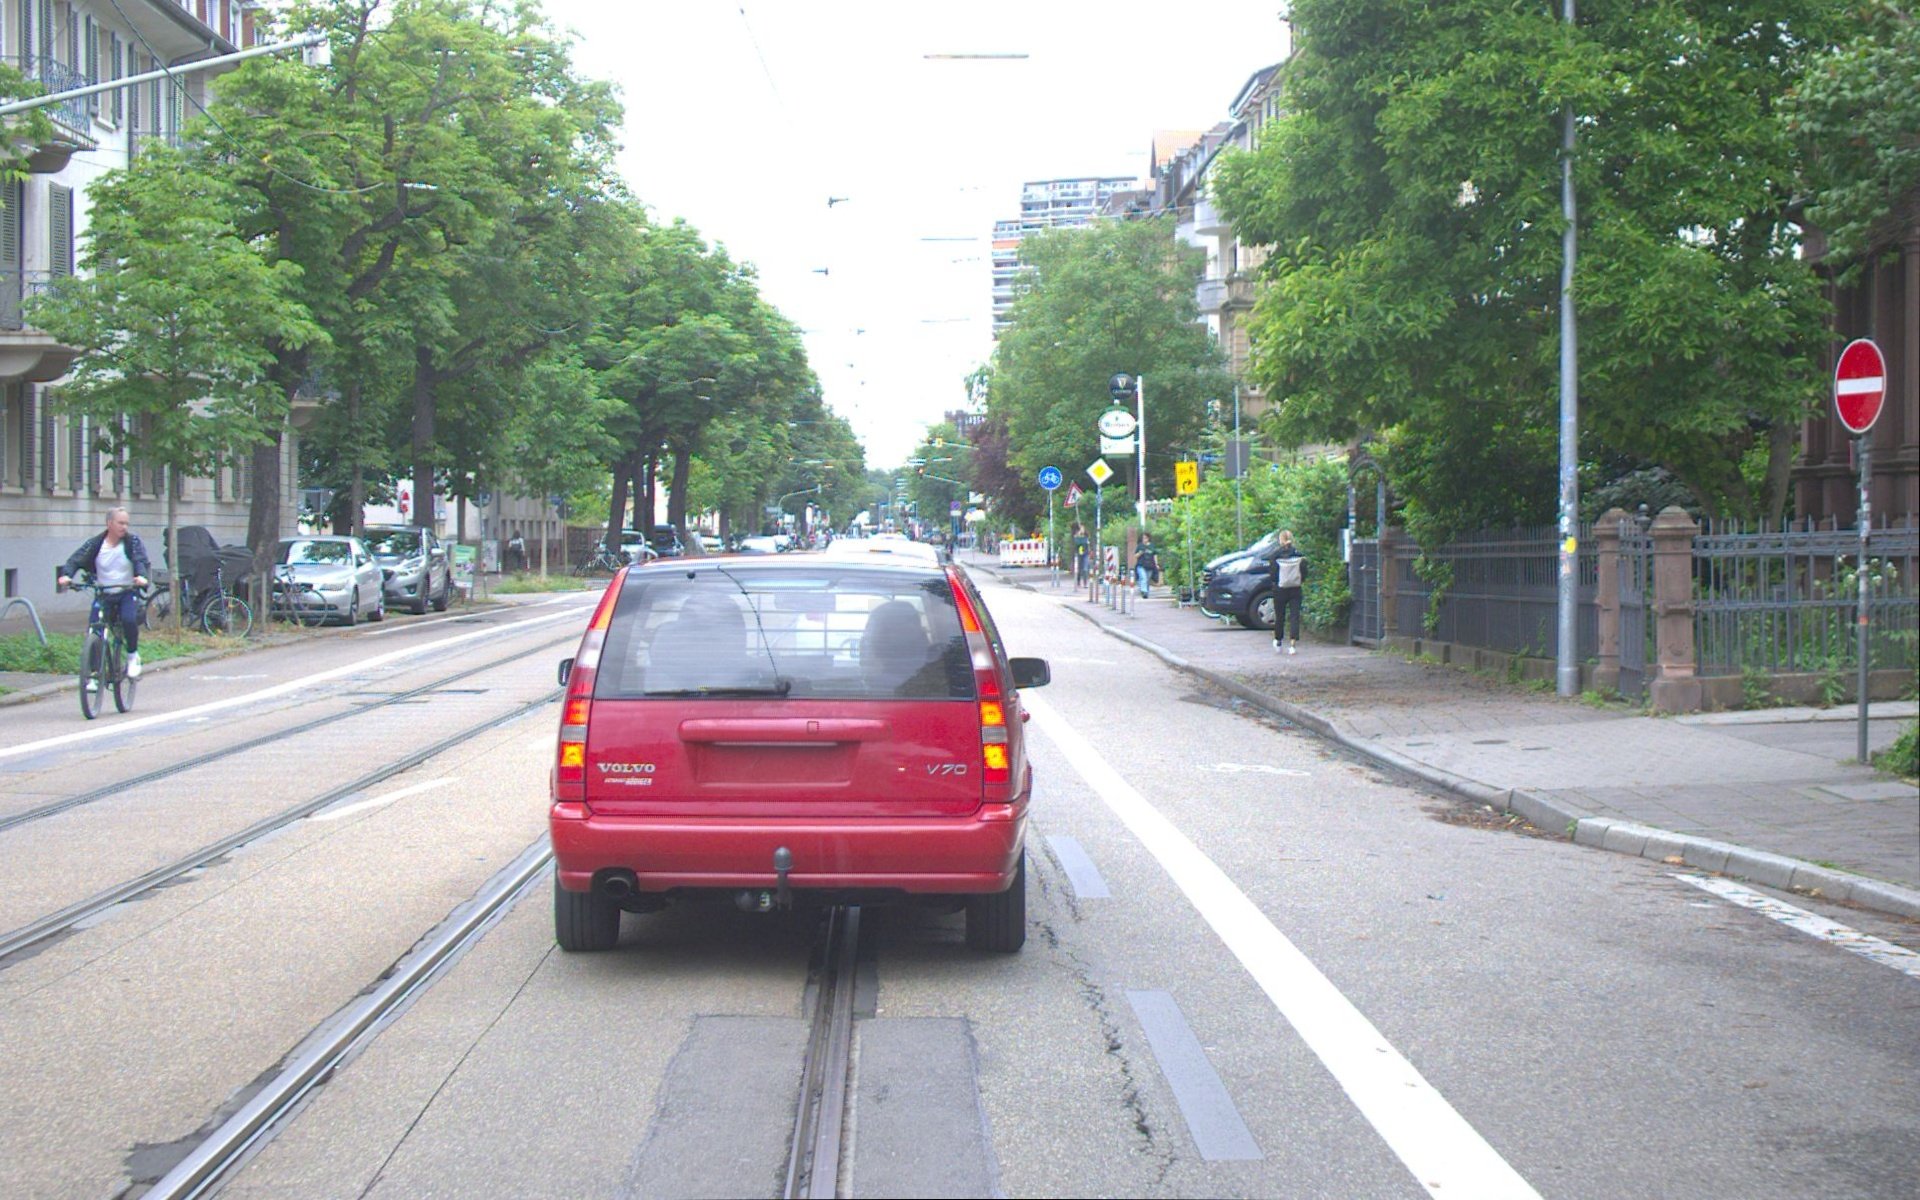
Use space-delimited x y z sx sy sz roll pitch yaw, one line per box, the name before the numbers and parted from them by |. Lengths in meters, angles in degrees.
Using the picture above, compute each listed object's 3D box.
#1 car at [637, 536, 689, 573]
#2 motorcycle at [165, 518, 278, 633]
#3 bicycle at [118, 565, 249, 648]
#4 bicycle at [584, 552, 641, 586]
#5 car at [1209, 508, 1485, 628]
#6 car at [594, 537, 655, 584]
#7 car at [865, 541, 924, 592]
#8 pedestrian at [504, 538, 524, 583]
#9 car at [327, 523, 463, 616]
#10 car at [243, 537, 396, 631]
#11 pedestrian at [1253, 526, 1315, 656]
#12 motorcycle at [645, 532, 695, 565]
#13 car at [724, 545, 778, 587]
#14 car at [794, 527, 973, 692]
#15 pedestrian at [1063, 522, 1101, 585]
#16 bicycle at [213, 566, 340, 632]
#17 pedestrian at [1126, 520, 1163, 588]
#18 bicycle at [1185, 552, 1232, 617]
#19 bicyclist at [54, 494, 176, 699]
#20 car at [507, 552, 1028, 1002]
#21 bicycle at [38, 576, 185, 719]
car | -12.330 -1.910 142.943 1.777 1.505 4.238 1 1 0
motorcycle | -10.729 -0.369 50.026 0.833 1.637 2.479 0 1 7
bicycle | -10.786 0.089 47.737 1.743 1.125 0.517 0 1 17
bicycle | -12.116 -1.093 119.986 1.922 1.117 0.624 2 1 -1
car | 6.296 -0.531 56.298 4.280 1.803 1.824 -2 1 1
car | -12.066 -1.442 123.822 1.897 1.650 4.226 0 1 -2
car | -2.128 -1.086 110.570 1.741 1.600 4.001 0 1 -3
pedestrian | -14.756 -1.308 113.691 0.564 1.462 0.723 0 1 -1
car | -10.728 -0.604 65.552 1.837 1.655 4.293 2 1 0
car | -10.582 -0.301 57.114 1.811 1.461 4.614 1 1 -2
pedestrian | 4.283 -0.130 45.439 0.623 1.665 0.960 -3 1 -2
motorcycle | -13.880 -2.457 164.404 2.269 1.506 0.925 0 -1 34
car | -7.233 -1.174 118.983 1.729 1.404 3.656 0 1 -1
car | -0.745 0.063 35.926 1.719 1.619 3.941 0 1 1
pedestrian | 3.215 -1.233 90.412 0.873 1.650 0.908 0 1 11
bicycle | -10.668 -0.017 53.719 1.894 1.023 0.564 0 1 -5
pedestrian | 4.437 -1.107 82.788 0.793 1.630 0.836 -1 1 -1
bicycle | 4.522 -0.289 62.675 0.632 1.124 1.812 -2 2 -2
bicyclist | -7.425 -0.043 30.243 0.791 1.777 1.147 0 1 -1
car | -0.635 0.548 13.035 1.689 1.436 3.743 0 1 0
bicycle | -7.420 0.397 30.140 0.791 1.182 2.011 -1 1 -1
